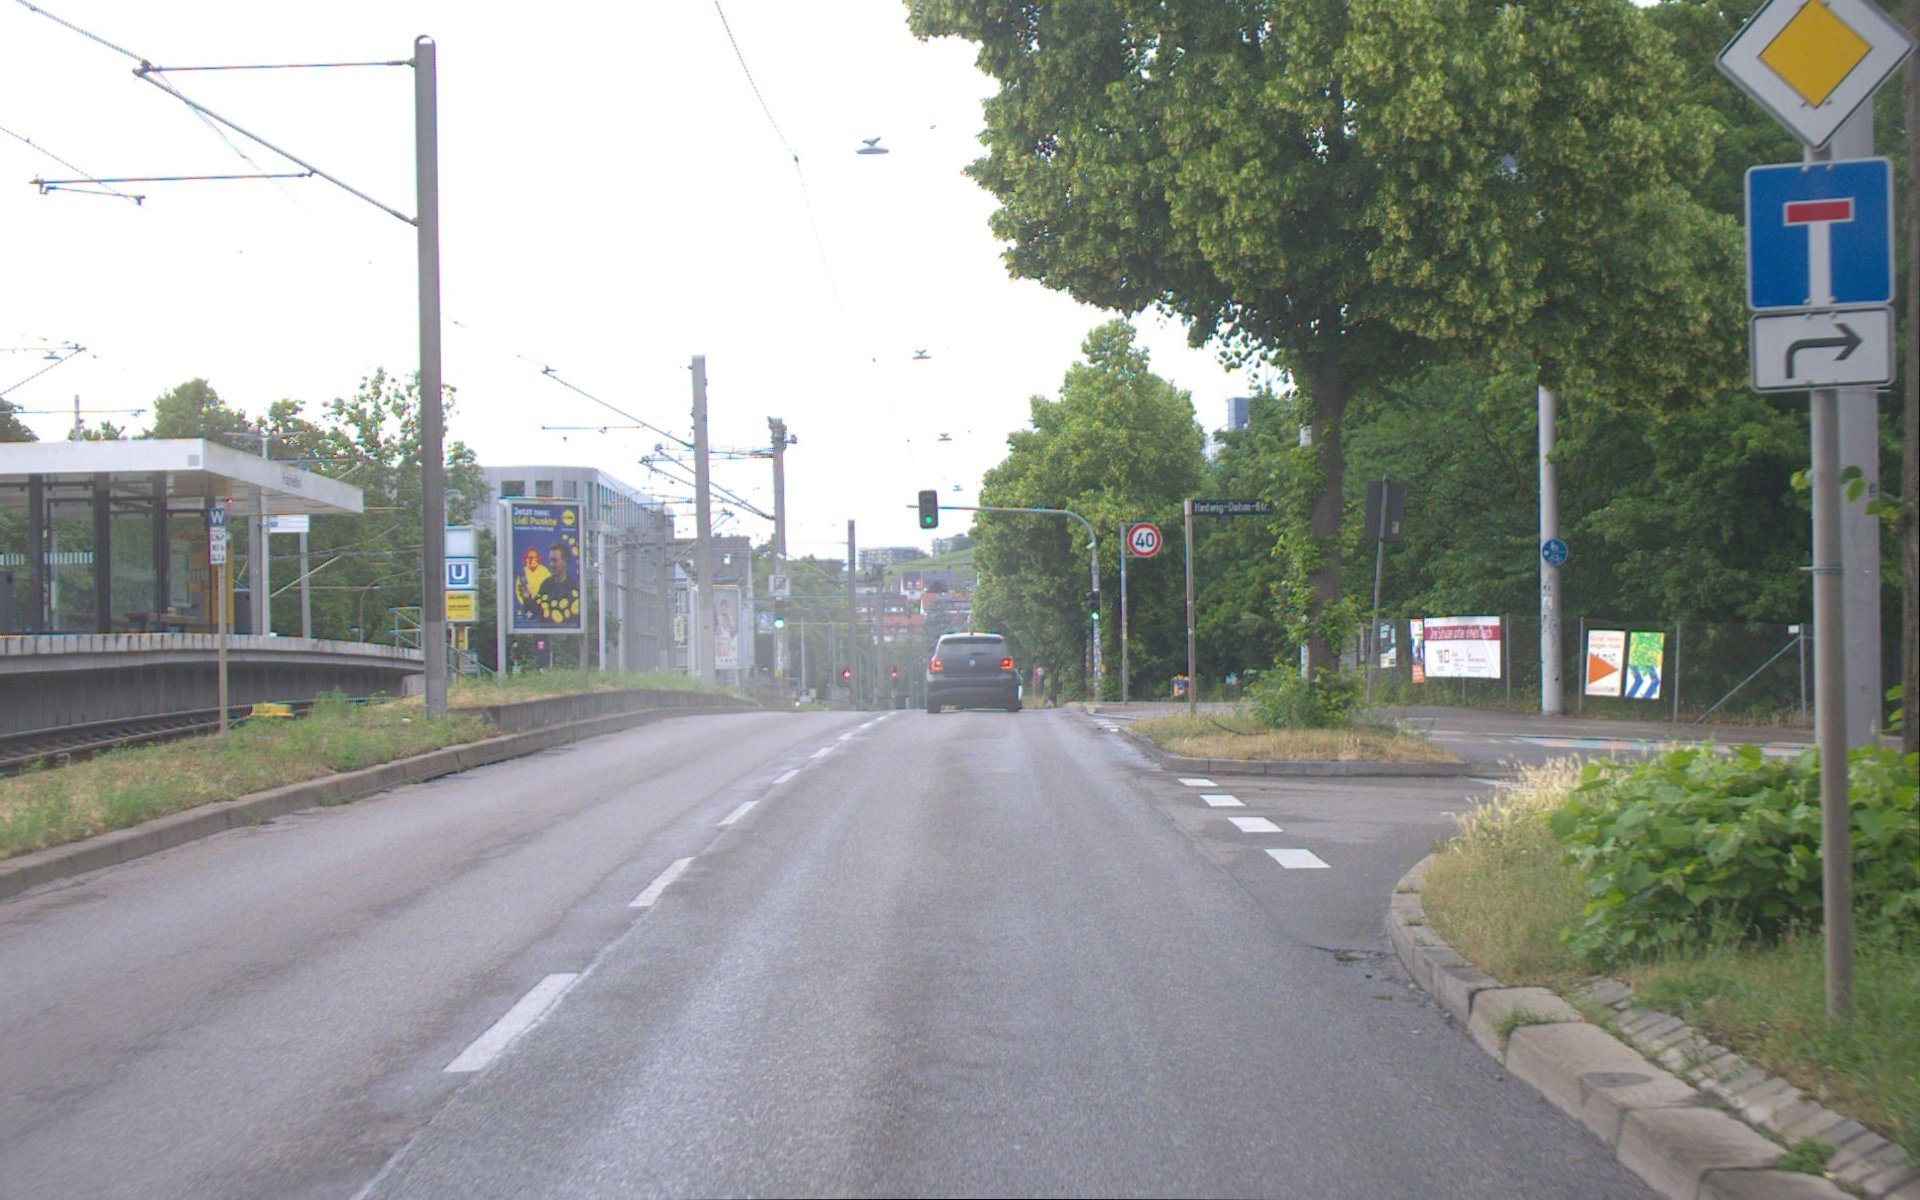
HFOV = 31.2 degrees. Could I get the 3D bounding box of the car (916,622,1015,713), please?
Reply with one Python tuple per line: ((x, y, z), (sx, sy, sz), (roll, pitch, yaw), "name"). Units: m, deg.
((0.099, 1.206, 62.678), (1.726, 1.535, 4.000), (-1, 0, 0), "car")
